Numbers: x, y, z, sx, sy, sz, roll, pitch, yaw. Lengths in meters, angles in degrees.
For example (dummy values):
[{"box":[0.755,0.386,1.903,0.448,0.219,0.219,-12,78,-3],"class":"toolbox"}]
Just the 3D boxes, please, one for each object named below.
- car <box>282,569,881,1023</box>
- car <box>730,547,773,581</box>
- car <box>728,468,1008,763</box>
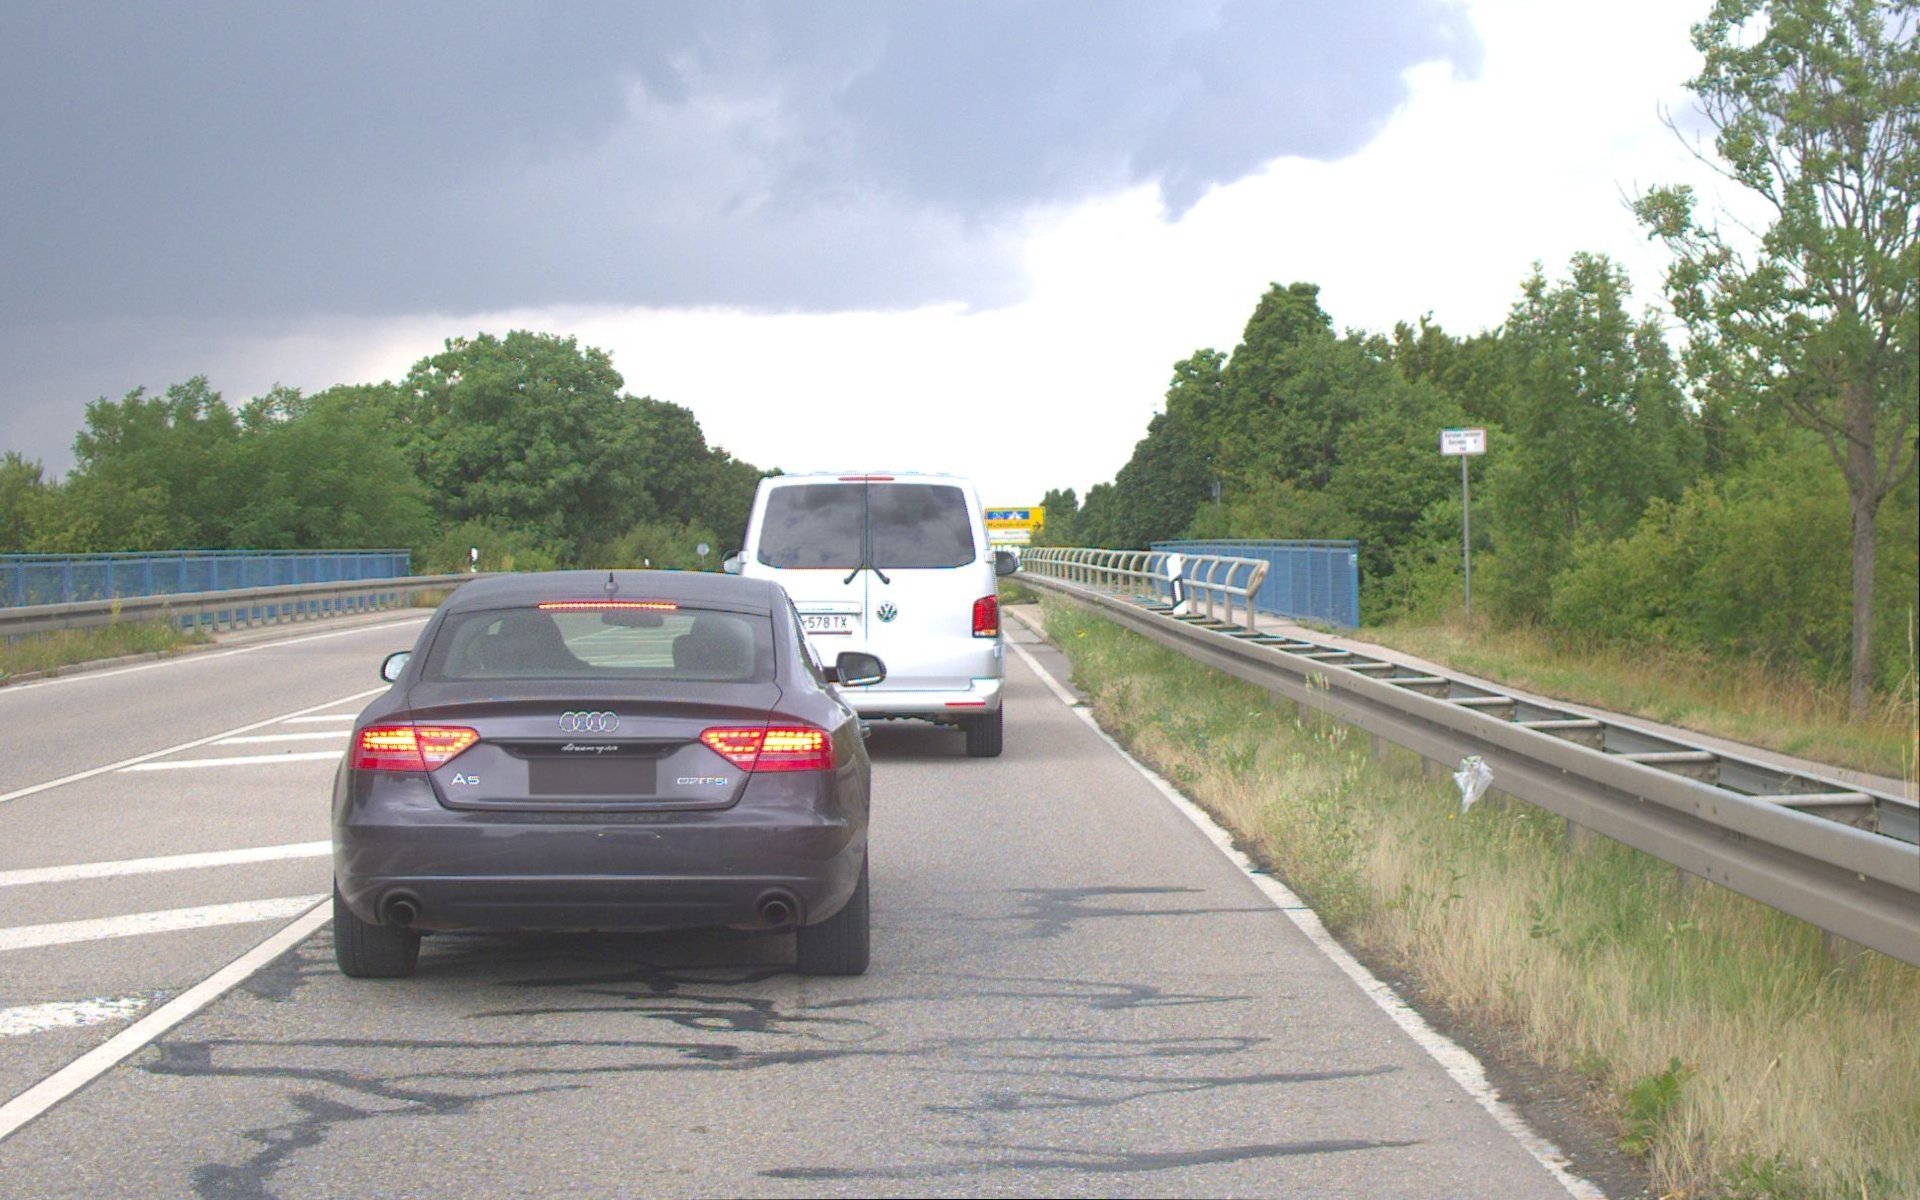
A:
[{"box":[-1.231,0.596,12.816,1.821,1.376,4.072,-1,1,-1],"class":"car"},{"box":[-9.277,-1.622,153.071,1.799,1.445,4.446,-1,1,-2],"class":"car"},{"box":[-0.632,0.073,24.692,1.828,1.929,4.000,-1,1,-1],"class":"car"}]
